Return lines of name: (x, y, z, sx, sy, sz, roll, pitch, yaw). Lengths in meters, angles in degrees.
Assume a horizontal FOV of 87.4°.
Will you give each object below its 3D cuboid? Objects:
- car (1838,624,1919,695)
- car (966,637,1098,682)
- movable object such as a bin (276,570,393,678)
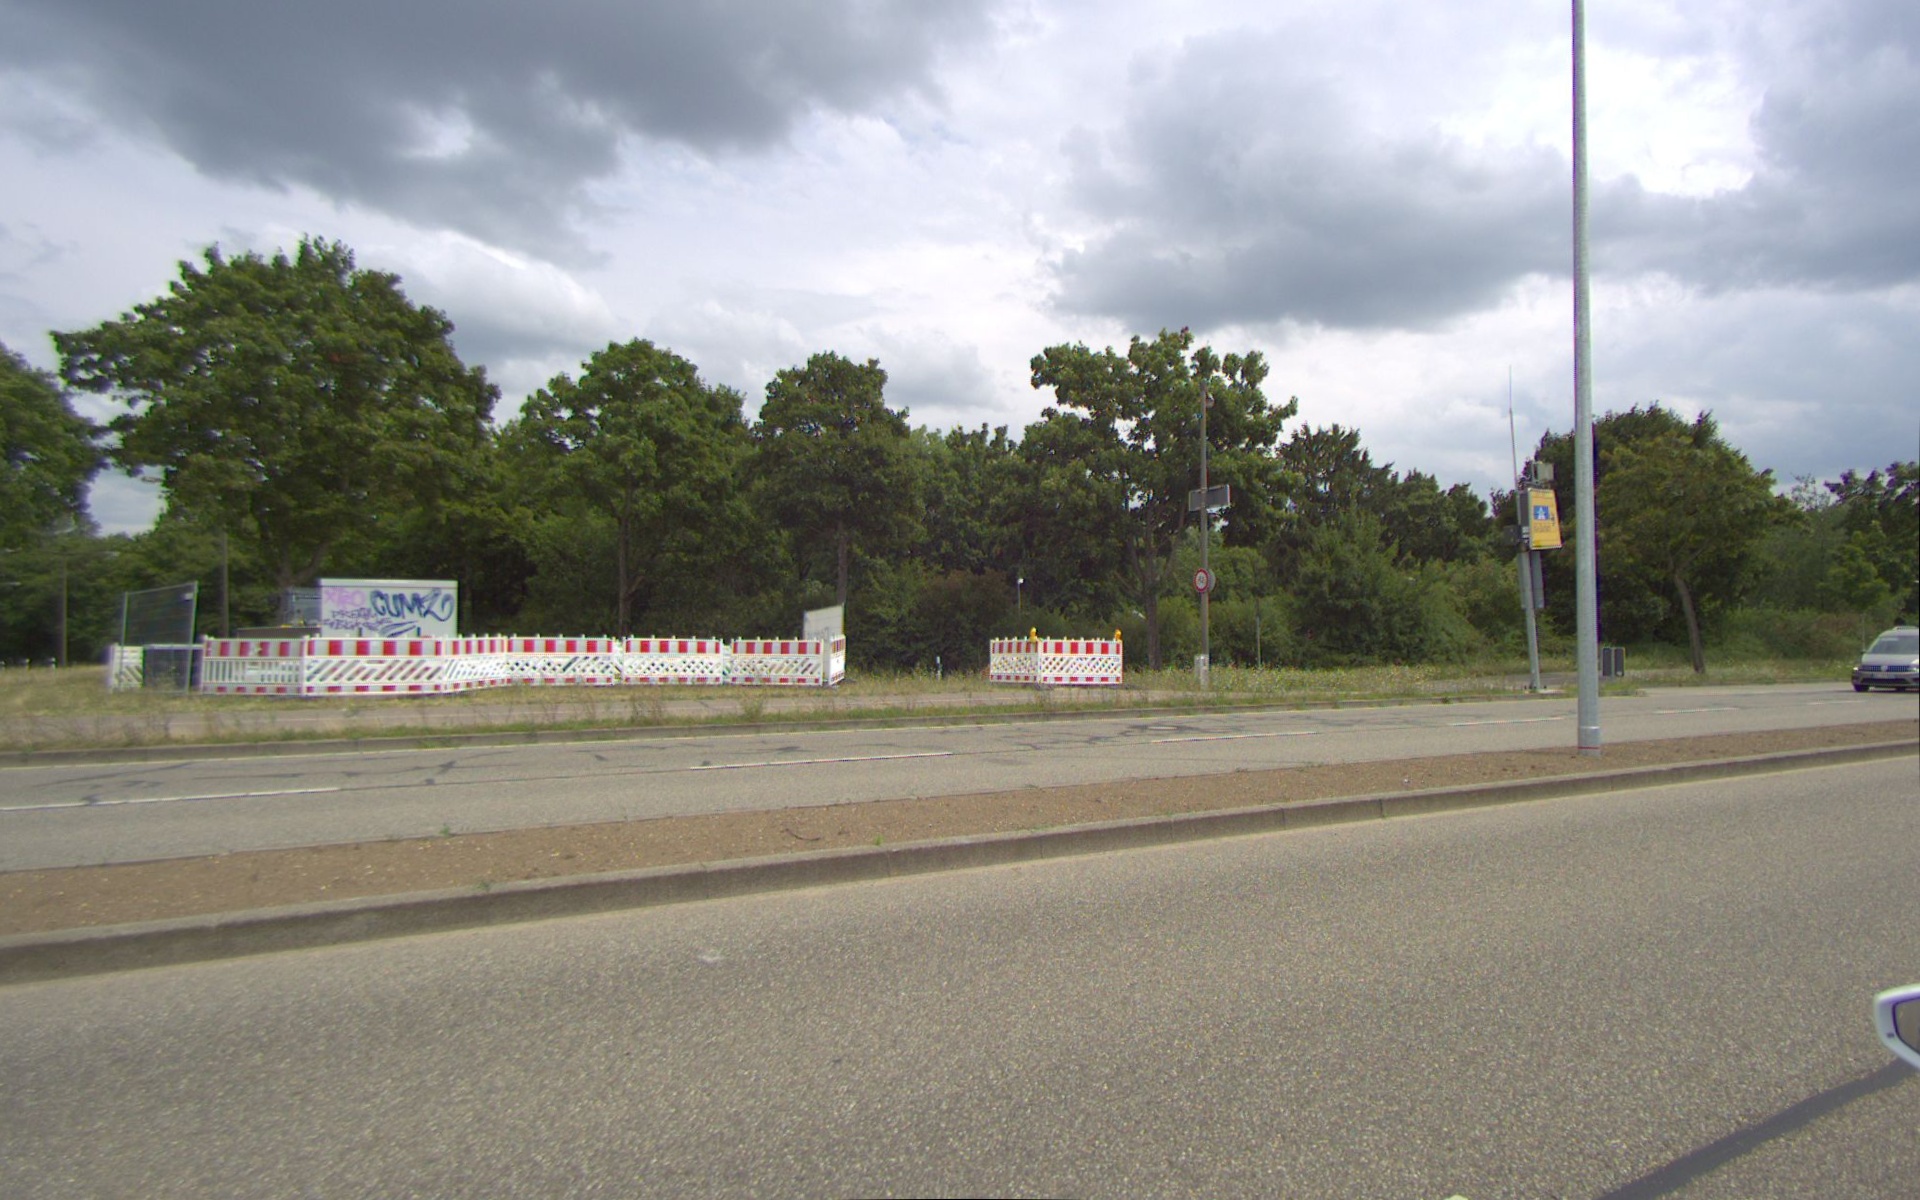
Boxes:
car: (26.760, 1.605, 28.173, 4.485, 1.833, 1.894, 0, -1, -30)
car: (2.178, 1.808, 30.695, 3.819, 1.261, 1.406, 1, 0, -7)
movable object such as a bin: (-15.666, 0.576, 25.045, 1.983, 2.429, 4.542, 0, -1, -39)
